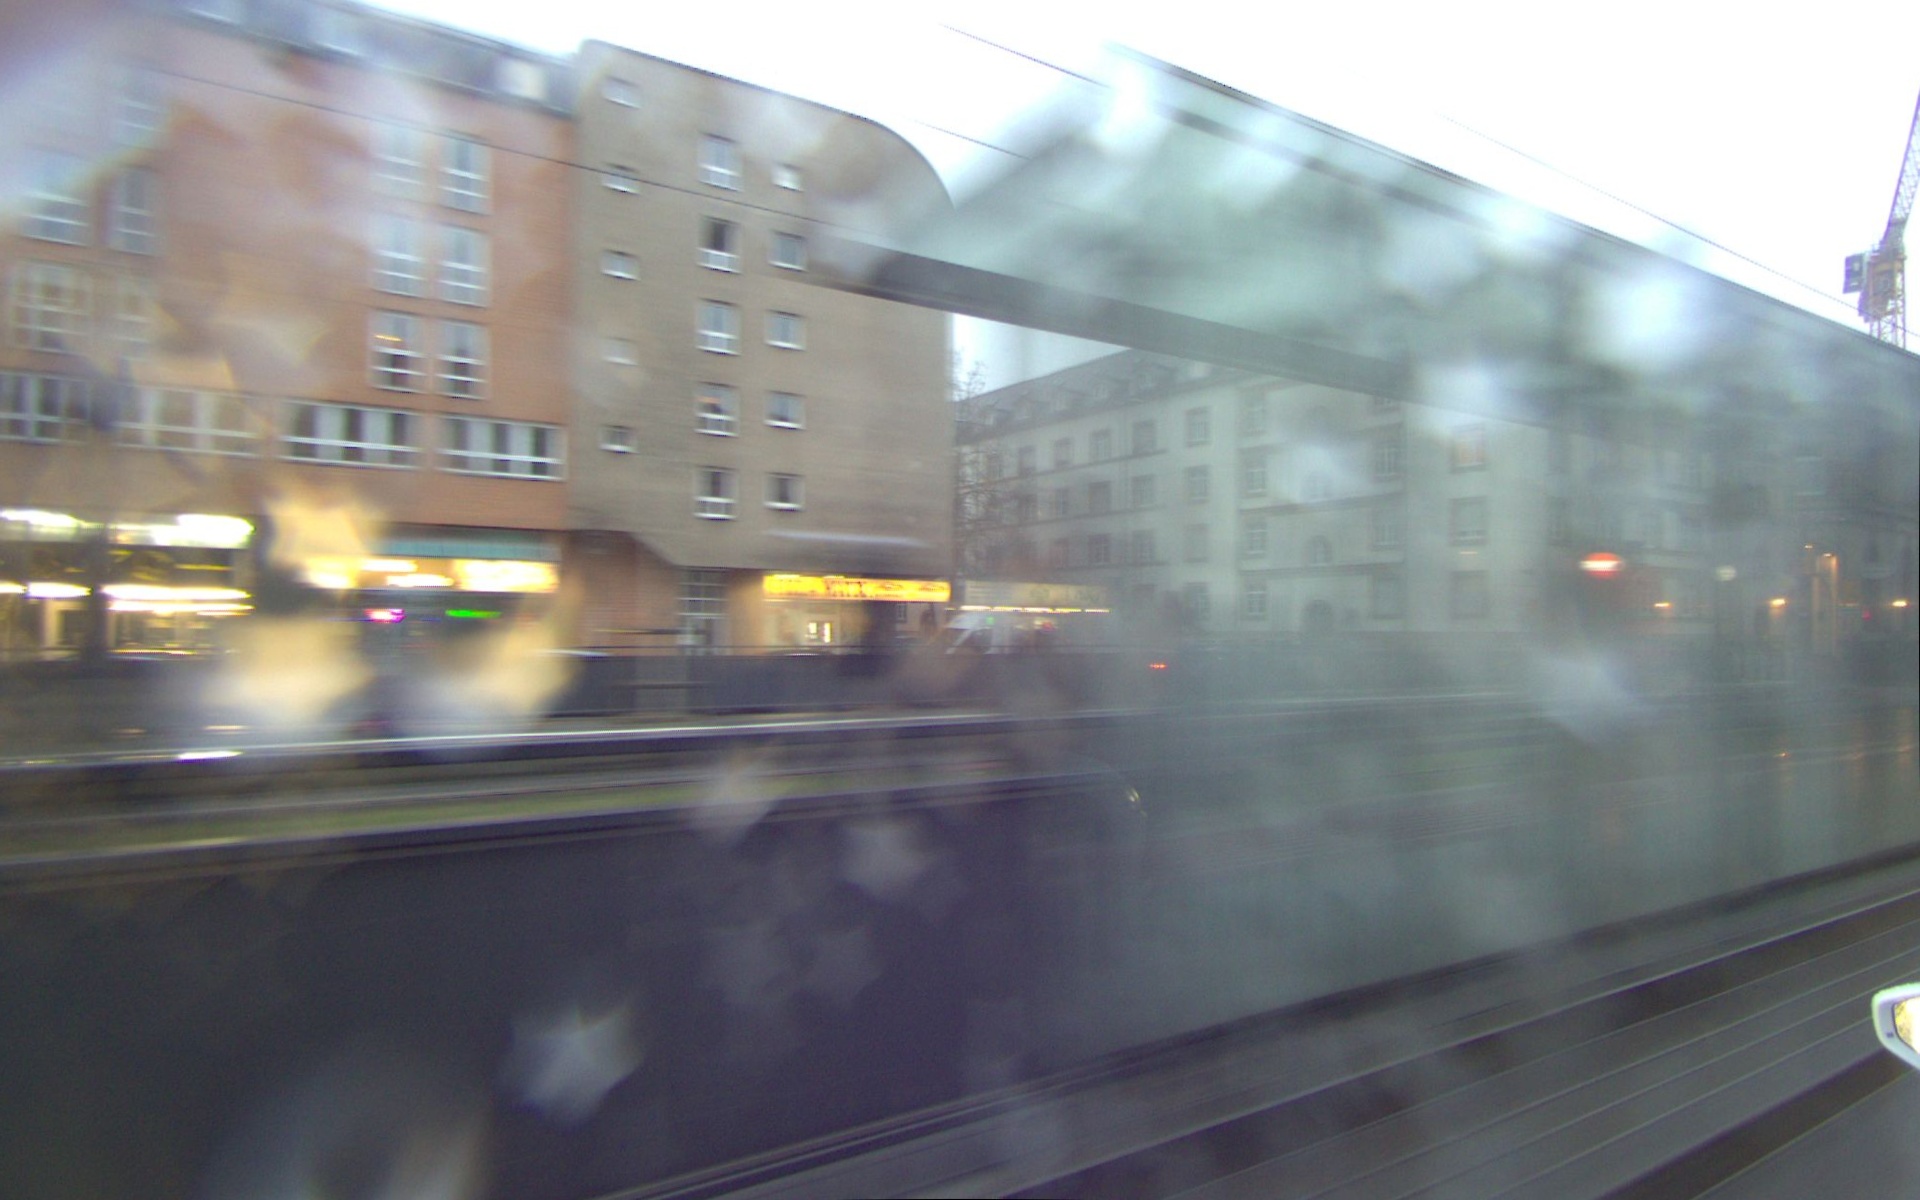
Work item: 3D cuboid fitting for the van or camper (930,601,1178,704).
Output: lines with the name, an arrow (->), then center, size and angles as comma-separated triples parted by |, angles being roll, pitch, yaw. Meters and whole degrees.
van or camper -> 2.741, 1.467, 29.236 | 6.659, 2.718, 2.766 | 1, 0, -24

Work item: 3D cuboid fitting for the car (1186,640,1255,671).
car -> 12.484, 2.632, 48.102 | 3.283, 1.444, 1.445 | 1, -2, -35

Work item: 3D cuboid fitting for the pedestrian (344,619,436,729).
pedestrian -> -6.077, 0.767, 10.719 | 0.597, 1.117, 0.591 | 1, 0, 22

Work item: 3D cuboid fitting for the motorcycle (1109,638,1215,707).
motorcycle -> 3.193, 1.115, 15.787 | 1.788, 1.021, 0.509 | 1, 0, -34

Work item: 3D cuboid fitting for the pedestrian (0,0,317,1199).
pedestrian -> -1.640, 0.187, 1.750 | 0.795, 2.138, 0.806 | 1, -1, -29

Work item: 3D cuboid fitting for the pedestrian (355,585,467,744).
pedestrian -> -5.590, 0.636, 10.258 | 0.624, 1.544, 0.756 | 1, 0, 18

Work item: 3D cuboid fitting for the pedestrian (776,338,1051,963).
pedestrian -> -0.199, 0.181, 3.995 | 0.796, 2.138, 0.805 | 1, -1, -33

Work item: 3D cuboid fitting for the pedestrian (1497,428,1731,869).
pedestrian -> 3.528, 0.247, 5.441 | 0.796, 2.138, 0.805 | 1, -1, -33

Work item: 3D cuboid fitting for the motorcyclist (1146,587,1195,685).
motorcyclist -> 3.321, 0.557, 15.866 | 0.551, 1.516, 0.495 | 1, 0, -35
